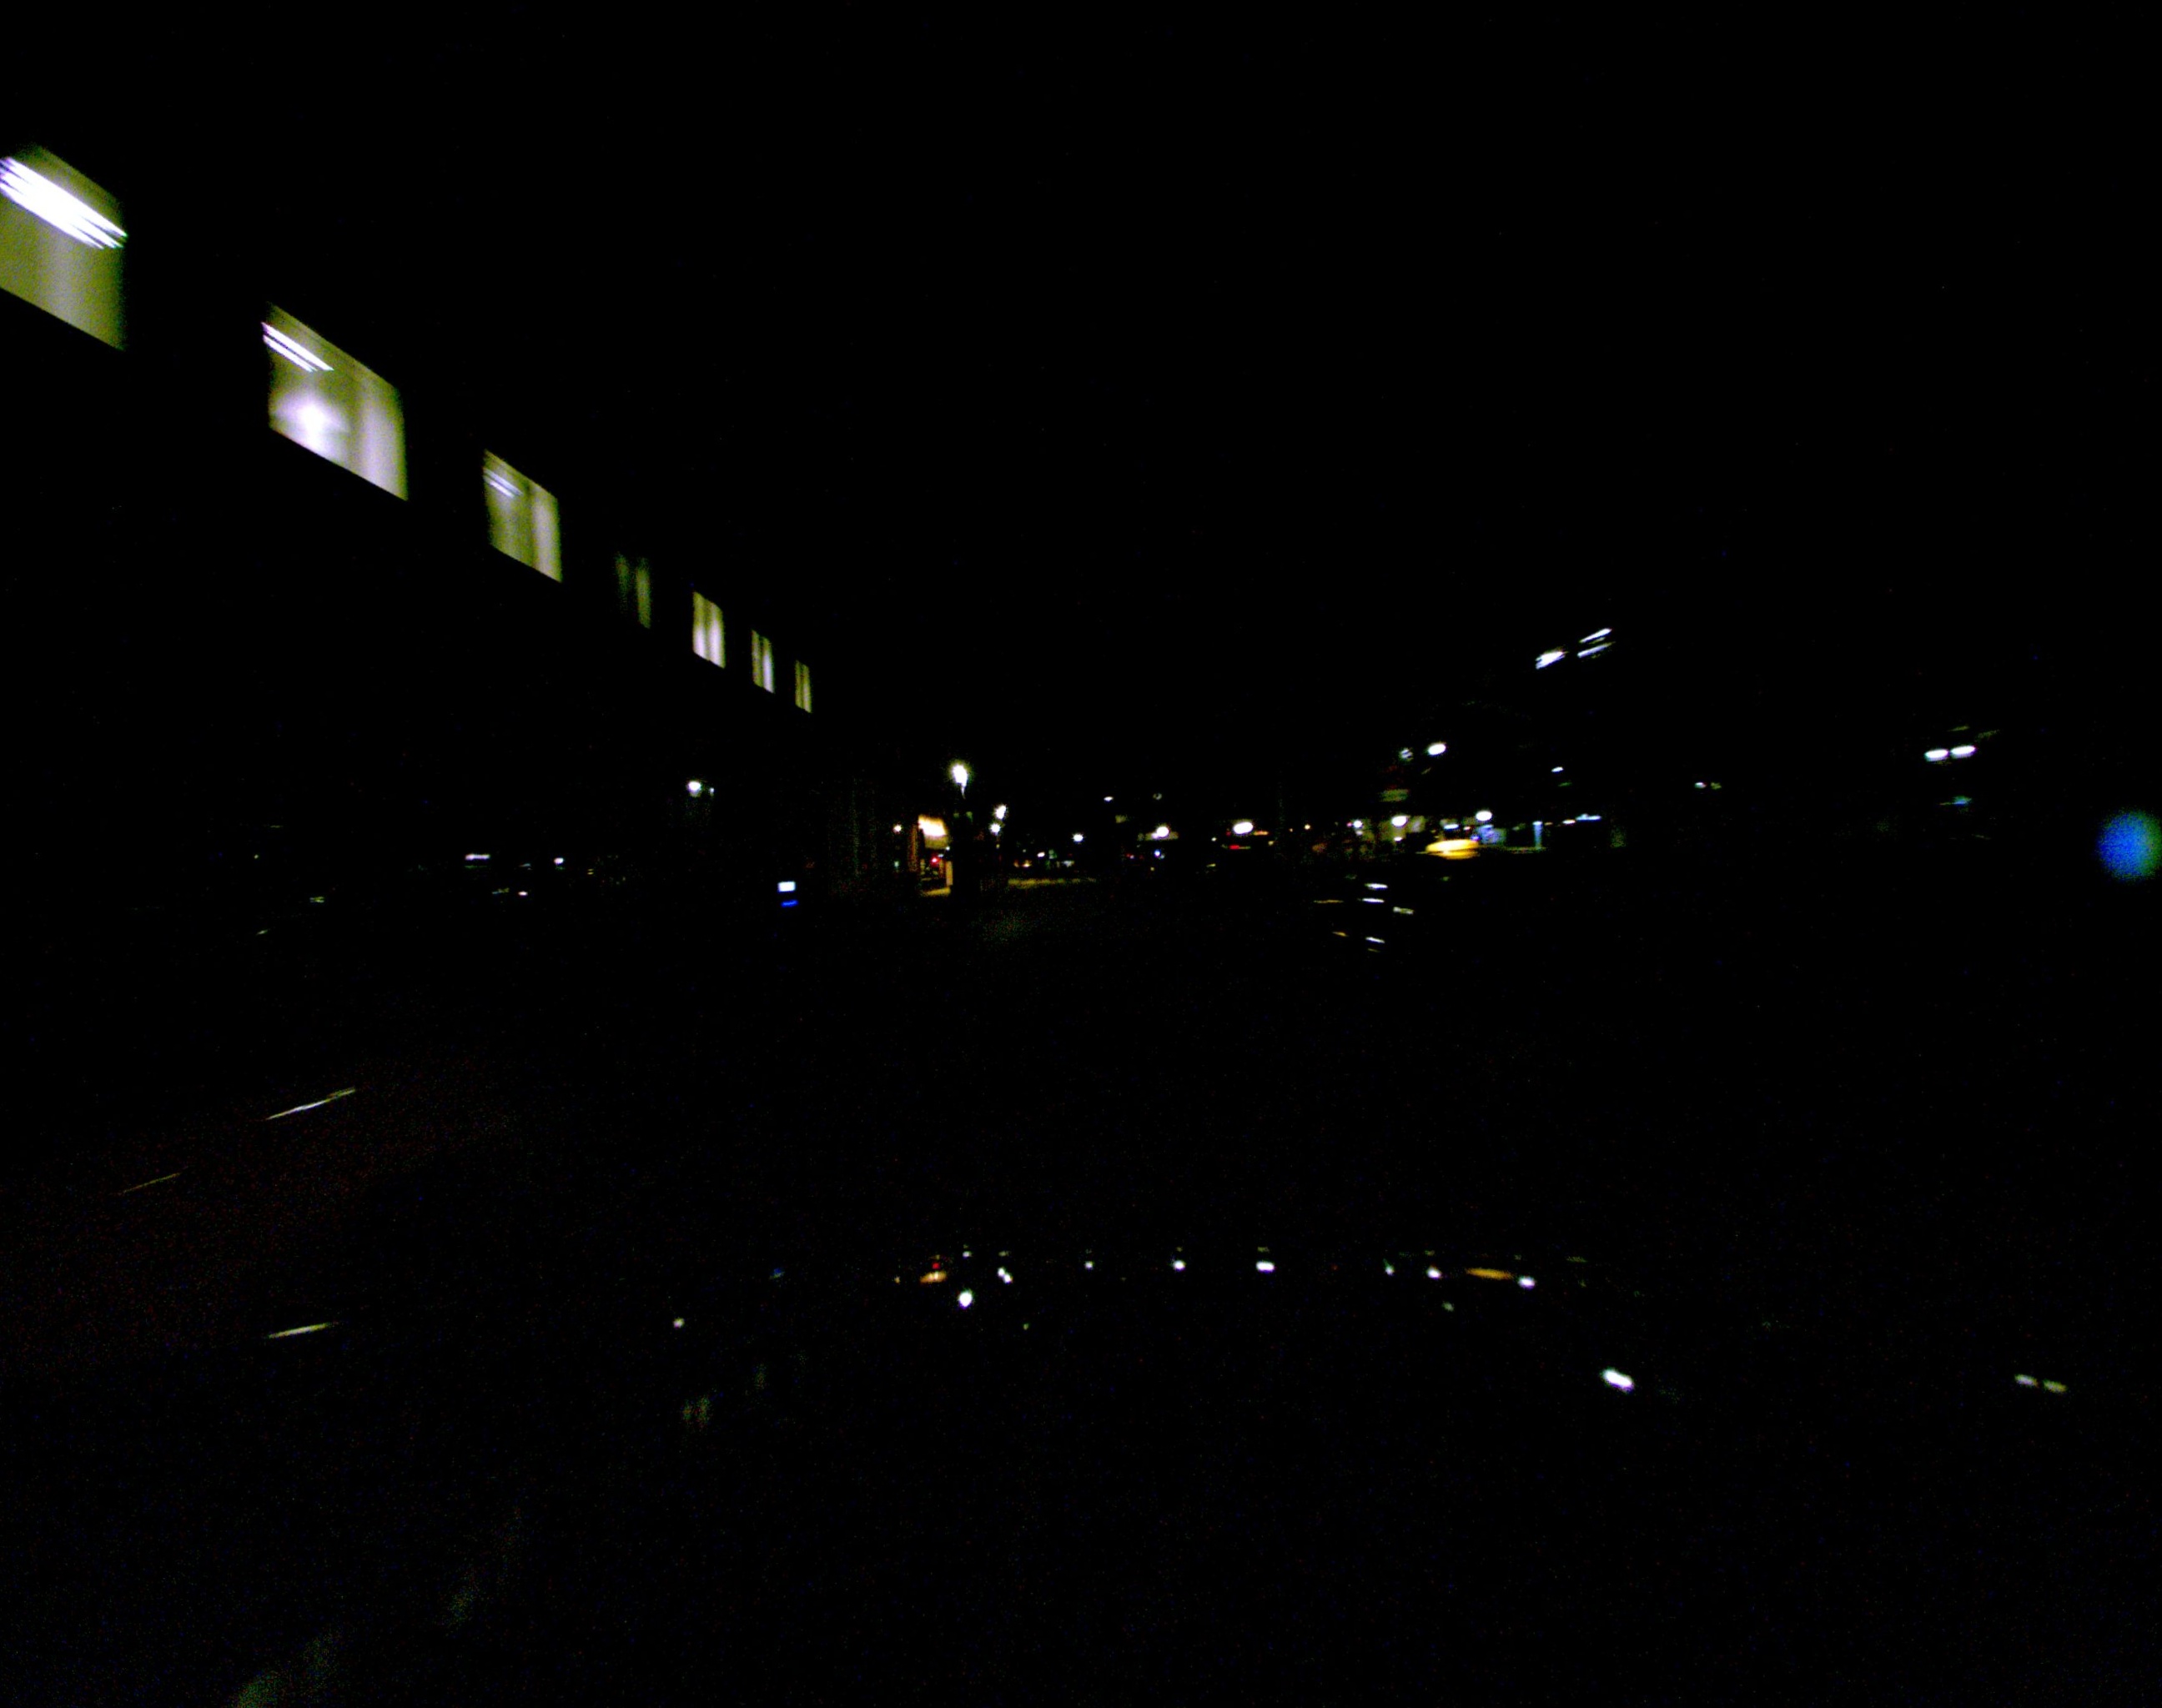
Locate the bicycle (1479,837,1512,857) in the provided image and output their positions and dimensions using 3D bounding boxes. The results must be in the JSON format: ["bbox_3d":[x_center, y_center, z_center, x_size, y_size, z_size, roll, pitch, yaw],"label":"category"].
[{"bbox_3d":[29.065,-0.482,53.292,0.775,1.356,2.509,-2,1,-3],"label":"bicycle"}]

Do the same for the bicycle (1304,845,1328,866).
[{"bbox_3d":[16.246,0.109,52.538,0.765,1.356,2.412,-2,1,-3],"label":"bicycle"}]

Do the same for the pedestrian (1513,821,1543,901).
[{"bbox_3d":[10.307,0.156,17.512,0.501,1.811,0.504,0,2,40],"label":"pedestrian"}]

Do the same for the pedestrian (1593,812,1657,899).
[{"bbox_3d":[11.887,0.037,16.631,0.793,1.807,1.024,-3,1,18],"label":"pedestrian"}]

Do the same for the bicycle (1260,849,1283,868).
[{"bbox_3d":[13.108,0.310,52.387,0.861,1.247,2.465,-2,1,-3],"label":"bicycle"}]

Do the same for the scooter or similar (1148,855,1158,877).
[{"bbox_3d":[4.316,0.716,45.648,0.370,1.256,1.448,-3,0,-1],"label":"scooter or similar"}]

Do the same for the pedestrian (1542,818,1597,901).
[{"bbox_3d":[11.200,0.113,17.442,0.879,1.821,0.792,-3,1,24],"label":"pedestrian"}]

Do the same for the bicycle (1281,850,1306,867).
[{"bbox_3d":[14.647,0.324,52.451,0.861,1.081,2.482,-2,1,-3],"label":"bicycle"}]

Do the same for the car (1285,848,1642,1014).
[{"bbox_3d":[4.454,0.757,9.911,1.910,1.533,4.780,-3,0,-4],"label":"car"}]

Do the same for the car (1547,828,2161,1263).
[{"bbox_3d":[4.892,0.707,3.945,1.763,1.628,4.813,-2,0,-3],"label":"car"}]

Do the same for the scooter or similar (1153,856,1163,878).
[{"bbox_3d":[4.624,0.785,45.663,0.318,1.280,1.448,-3,0,-2],"label":"scooter or similar"}]

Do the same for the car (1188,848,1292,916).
[{"bbox_3d":[4.207,0.670,20.815,1.775,1.565,4.482,-3,1,-1],"label":"car"}]

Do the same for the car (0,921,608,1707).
[{"bbox_3d":[-2.898,1.089,0.843,1.746,1.479,4.635,-2,1,1],"label":"car"}]
